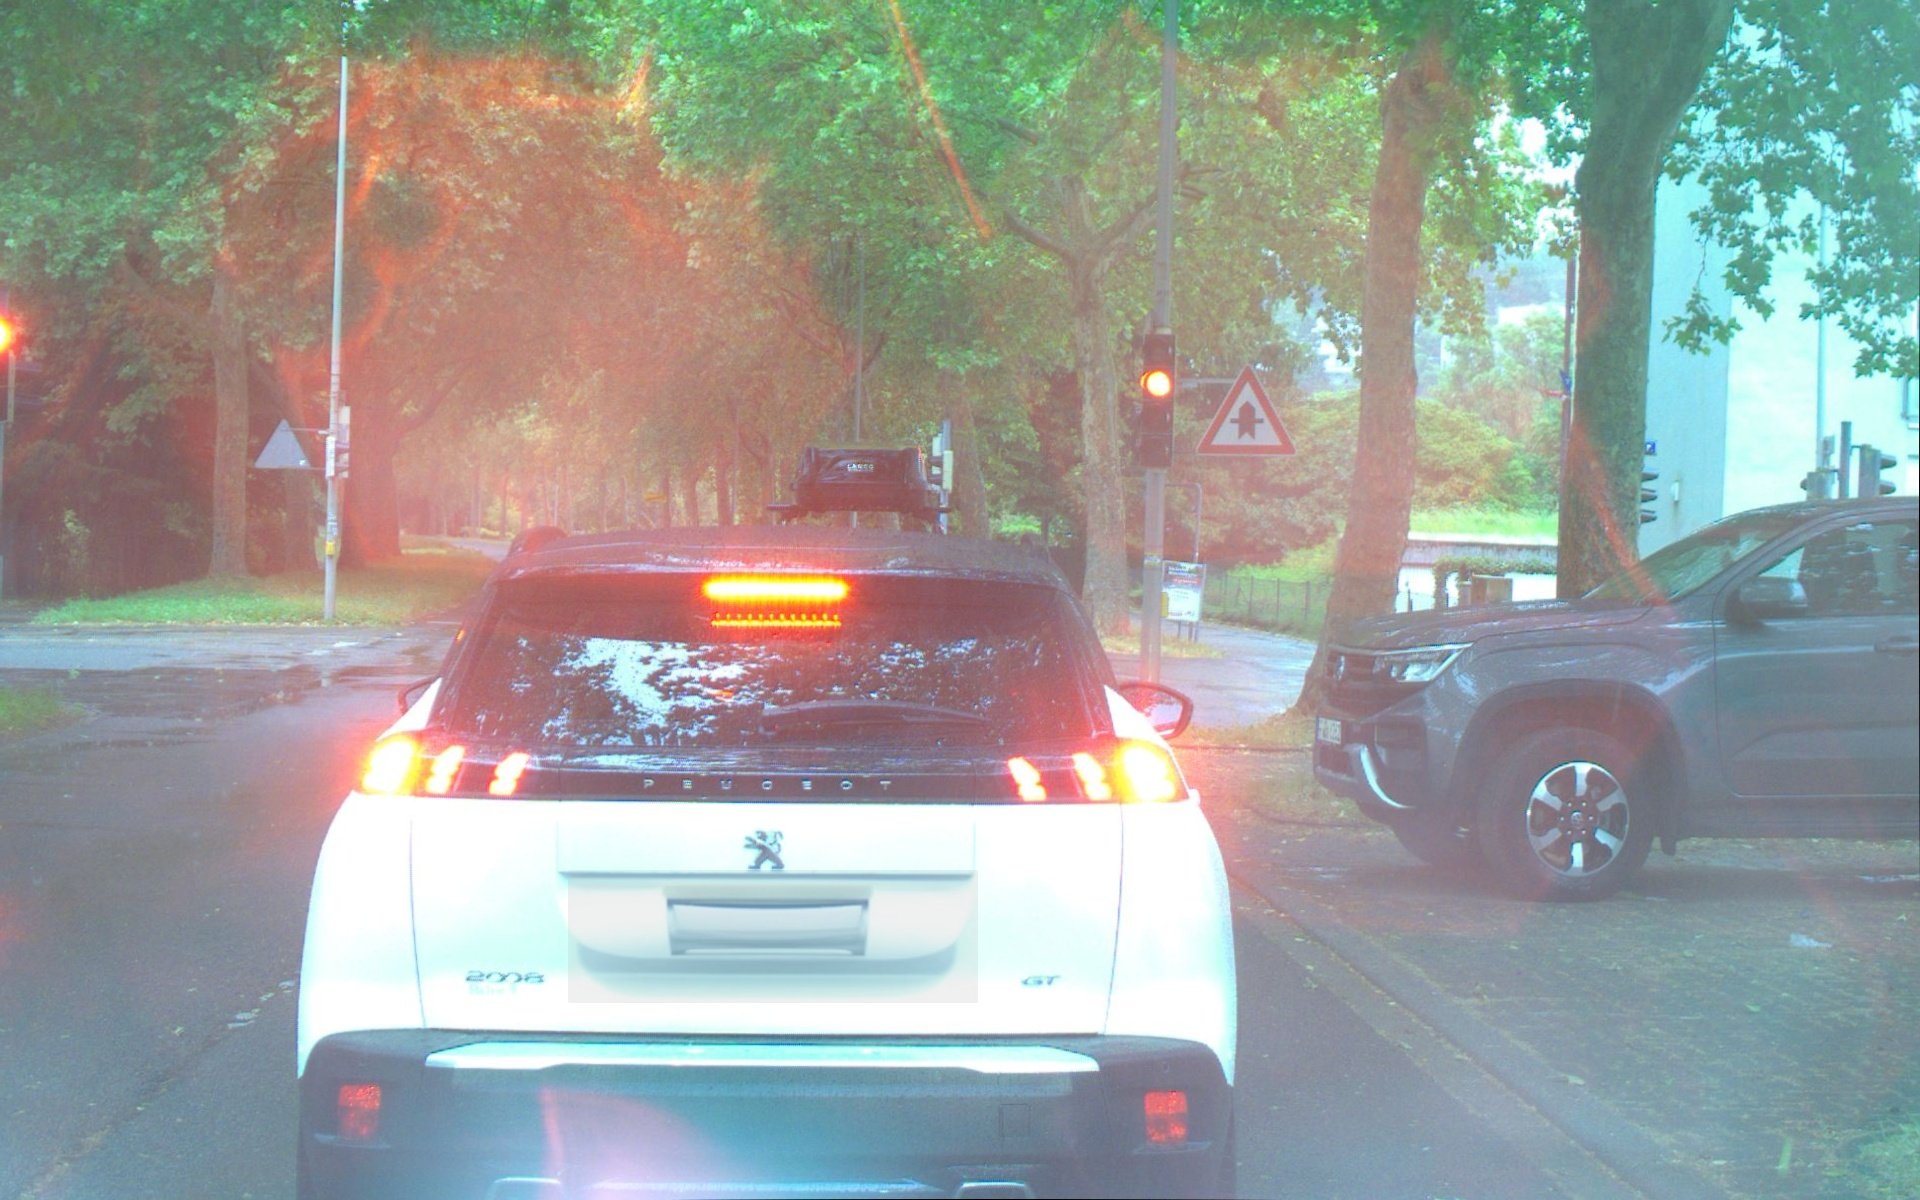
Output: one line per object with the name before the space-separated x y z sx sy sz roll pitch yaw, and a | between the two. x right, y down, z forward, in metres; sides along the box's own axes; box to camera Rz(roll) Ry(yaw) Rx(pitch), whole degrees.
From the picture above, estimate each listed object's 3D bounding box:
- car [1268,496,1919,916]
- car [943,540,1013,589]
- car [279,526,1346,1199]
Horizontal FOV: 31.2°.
car | 4.255 0.446 15.973 5.337 1.800 1.846 0 1 -7
car | 0.575 -1.178 111.832 1.905 1.504 3.932 2 1 -5
car | -0.289 0.618 7.840 1.780 1.531 4.058 1 1 -1
